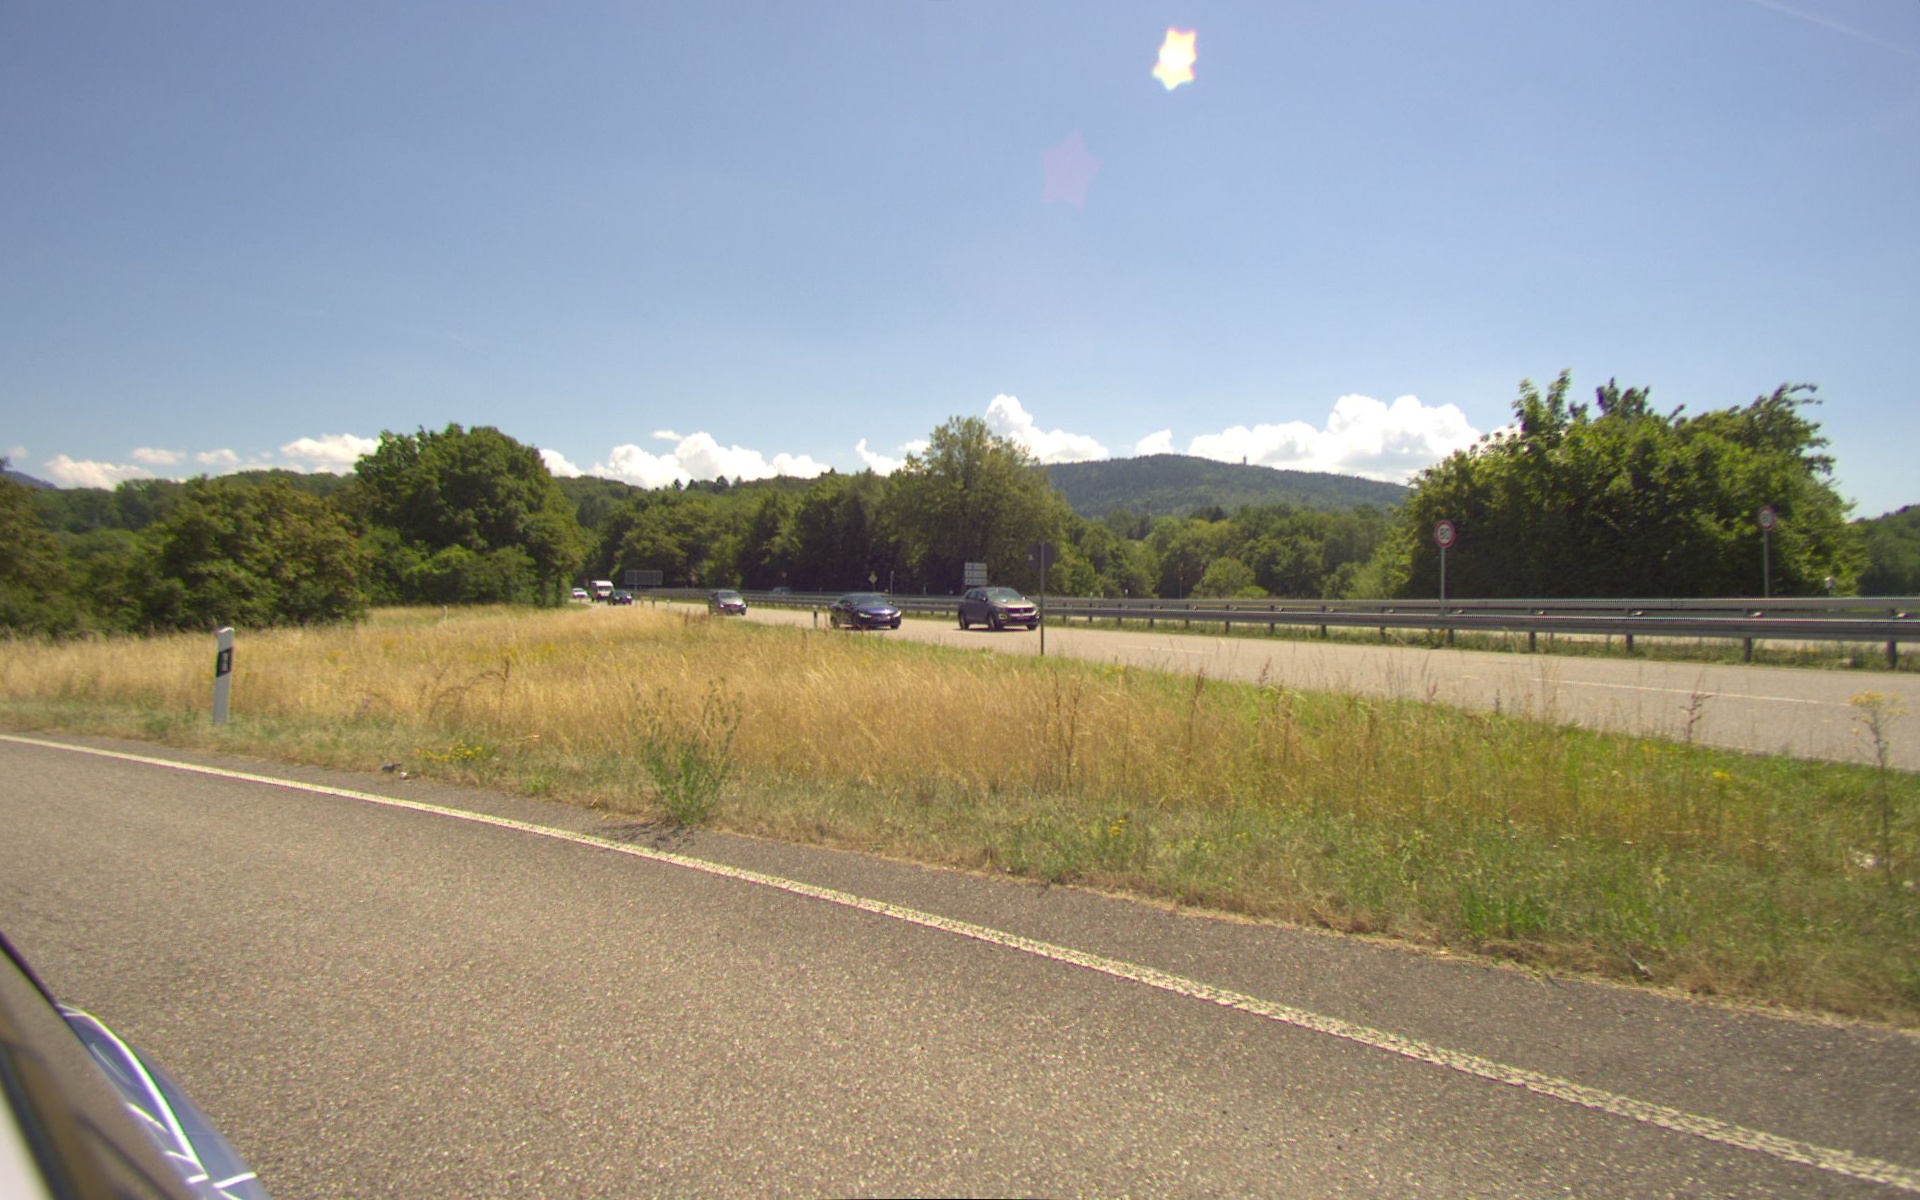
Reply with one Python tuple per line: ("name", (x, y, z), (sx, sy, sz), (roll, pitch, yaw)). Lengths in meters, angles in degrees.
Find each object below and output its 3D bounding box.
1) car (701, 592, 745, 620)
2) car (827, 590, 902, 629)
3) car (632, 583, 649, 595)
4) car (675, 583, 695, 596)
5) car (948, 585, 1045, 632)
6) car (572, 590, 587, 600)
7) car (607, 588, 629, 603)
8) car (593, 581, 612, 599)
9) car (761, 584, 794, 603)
("car", (-15.256, 0.372, 65.028), (1.768, 1.680, 4.569), (-1, 1, -26))
("car", (-3.934, 0.387, 41.074), (1.815, 1.418, 4.484), (-2, 0, -21))
("car", (-52.587, -1.879, 166.561), (1.965, 1.907, 4.928), (-1, 1, -26))
("car", (-39.864, -1.552, 146.622), (1.965, 1.907, 4.928), (-1, 1, -26))
("car", (1.252, 0.309, 37.071), (1.815, 1.541, 4.484), (-2, 0, -22))
("car", (-53.959, -0.733, 143.400), (1.643, 1.292, 4.013), (-1, 1, -26))
("car", (-34.999, -0.493, 103.566), (1.815, 1.418, 4.485), (-2, 1, -22))
("car", (-42.900, -1.185, 121.425), (1.975, 2.014, 4.594), (-2, 1, -21))
("car", (-18.222, -0.660, 101.041), (1.903, 1.764, 4.928), (-1, 1, -27))
